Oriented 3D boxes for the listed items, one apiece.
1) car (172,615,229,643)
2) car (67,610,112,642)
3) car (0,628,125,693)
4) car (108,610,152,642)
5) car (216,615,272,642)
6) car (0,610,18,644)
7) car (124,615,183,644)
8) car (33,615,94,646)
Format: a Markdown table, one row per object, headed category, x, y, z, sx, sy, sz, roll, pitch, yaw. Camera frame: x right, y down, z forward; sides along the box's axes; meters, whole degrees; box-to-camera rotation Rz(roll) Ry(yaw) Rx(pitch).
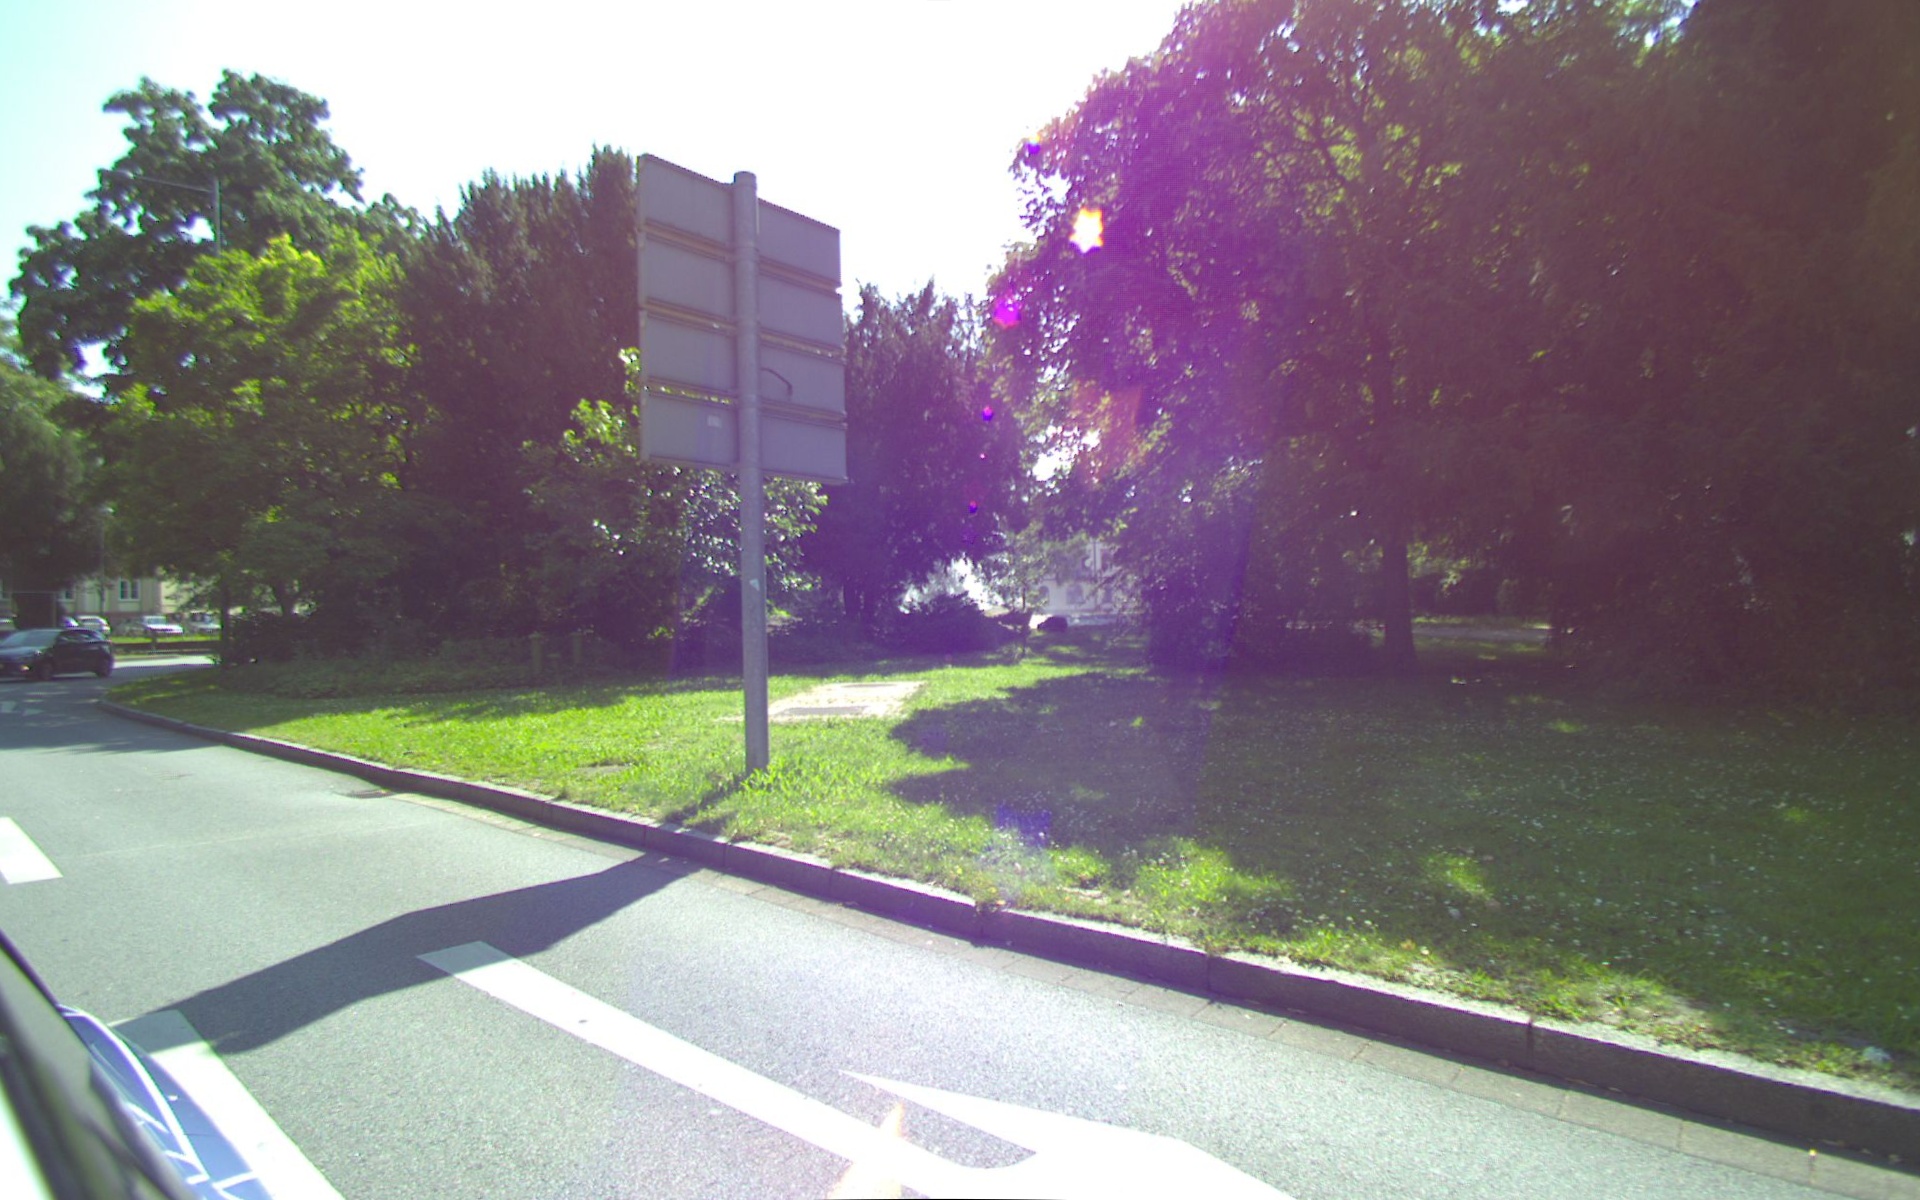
| category | x | y | z | sx | sy | sz | roll | pitch | yaw |
| --- | --- | --- | --- | --- | --- | --- | --- | --- | --- |
| car | -47.020 | 1.797 | 62.629 | 3.993 | 1.674 | 1.829 | -2 | -1 | 37 |
| car | -57.918 | 1.754 | 67.313 | 4.000 | 2.029 | 1.826 | -2 | -1 | 43 |
| car | -26.308 | 1.653 | 28.844 | 1.862 | 1.697 | 4.147 | 1 | -1 | -5 |
| car | -56.422 | 1.773 | 68.791 | 4.000 | 2.029 | 1.826 | -2 | -1 | 43 |
| car | -45.697 | 1.824 | 64.570 | 3.993 | 1.674 | 1.829 | -2 | -1 | 37 |
| car | -59.794 | 1.683 | 62.706 | 4.000 | 2.029 | 1.826 | -2 | -1 | 43 |
| car | -48.254 | 1.766 | 60.545 | 3.993 | 1.674 | 1.829 | -2 | -1 | 37 |
| car | -51.049 | 1.728 | 57.598 | 3.993 | 1.674 | 1.829 | -2 | -1 | 37 |
